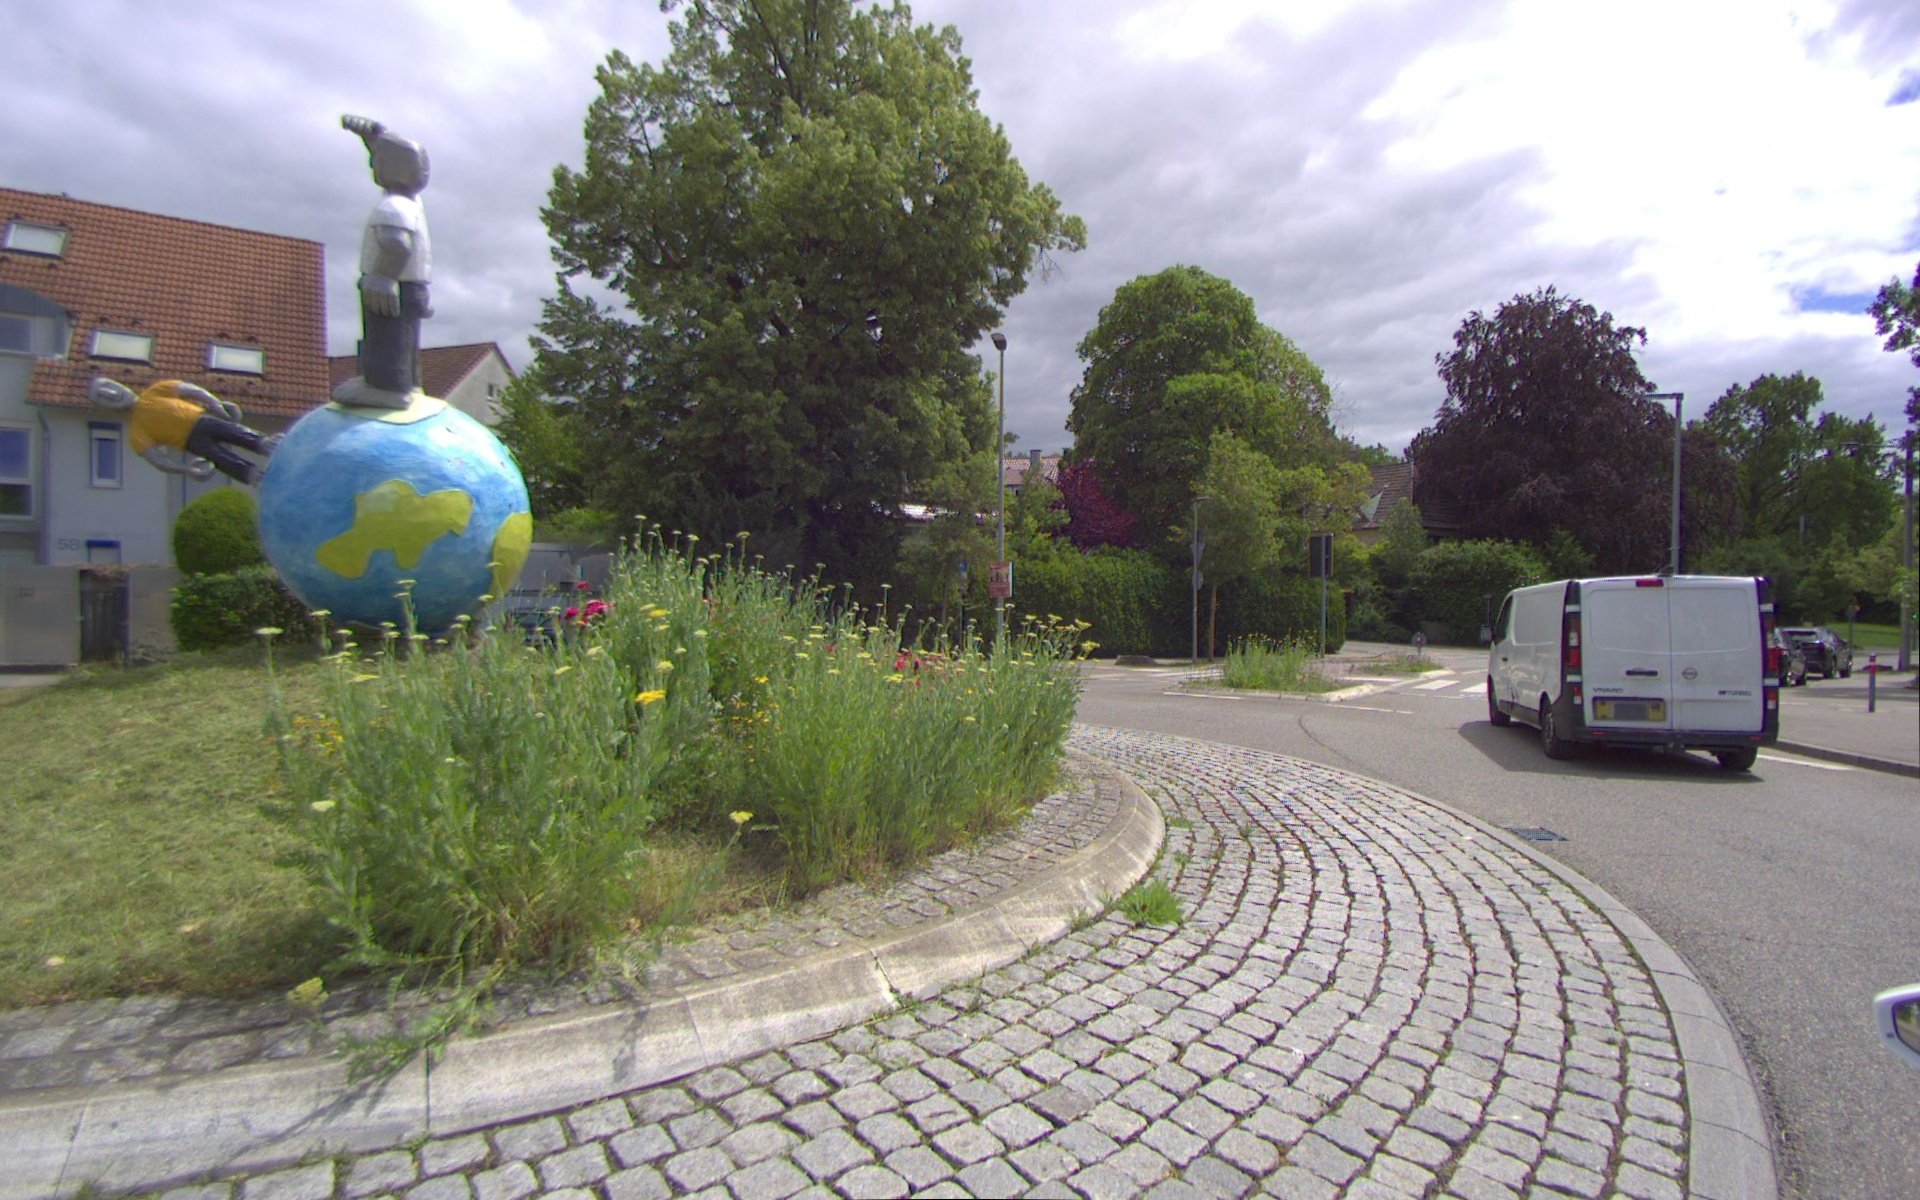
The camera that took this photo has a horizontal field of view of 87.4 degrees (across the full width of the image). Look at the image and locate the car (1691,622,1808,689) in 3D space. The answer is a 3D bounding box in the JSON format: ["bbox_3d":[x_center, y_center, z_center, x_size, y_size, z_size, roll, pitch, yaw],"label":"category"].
[{"bbox_3d":[21.619,1.454,27.466,3.896,1.558,1.914,0,1,-43],"label":"car"}]

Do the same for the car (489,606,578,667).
[{"bbox_3d":[-11.372,0.951,27.019,1.970,1.506,3.982,0,-1,-20],"label":"car"}]

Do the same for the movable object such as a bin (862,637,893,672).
[{"bbox_3d":[-2.135,1.403,25.908,0.631,0.874,0.628,1,-1,-22],"label":"movable object such as a bin"}]

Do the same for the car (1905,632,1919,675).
[{"bbox_3d":[42.366,2.267,42.960,3.880,1.768,1.887,0,1,-32],"label":"car"}]

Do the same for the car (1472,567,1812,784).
[{"bbox_3d":[7.675,0.629,11.989,2.001,1.972,4.993,2,2,19],"label":"car"}]

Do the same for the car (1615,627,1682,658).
[{"bbox_3d":[36.255,2.191,52.883,4.017,1.405,2.044,0,1,-42],"label":"car"}]

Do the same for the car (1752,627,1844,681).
[{"bbox_3d":[27.364,1.706,32.761,3.898,1.521,1.900,0,1,-44],"label":"car"}]
